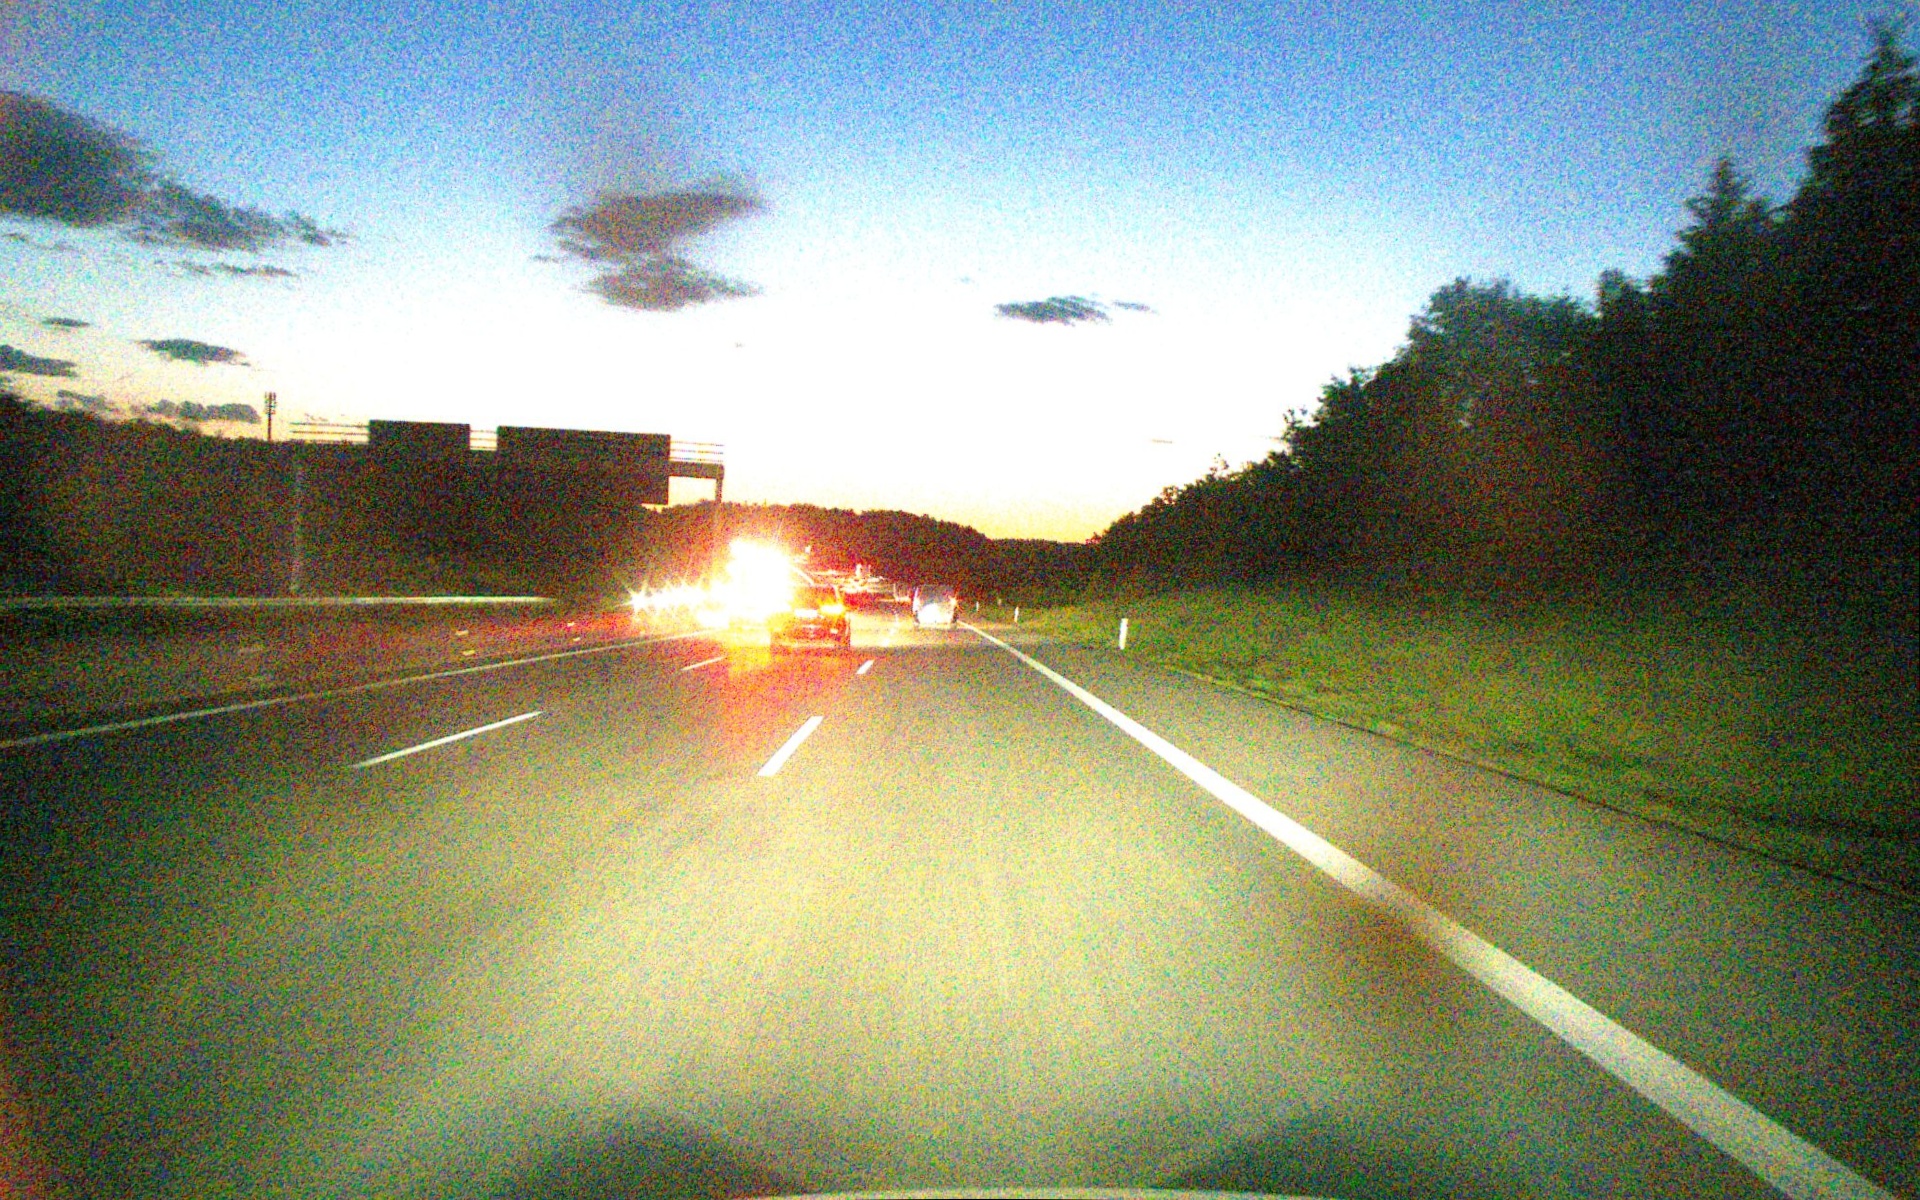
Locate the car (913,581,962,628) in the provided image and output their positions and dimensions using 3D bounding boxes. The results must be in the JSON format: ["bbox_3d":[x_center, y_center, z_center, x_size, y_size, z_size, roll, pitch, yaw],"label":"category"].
[{"bbox_3d":[-1.050,0.162,74.734,2.152,1.989,4.762,0,1,-2],"label":"car"}]

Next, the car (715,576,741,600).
[{"bbox_3d":[-29.938,-1.506,213.589,2.408,2.987,8.329,1,0,-2],"label":"car"}]

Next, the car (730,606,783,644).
[{"bbox_3d":[-8.068,0.961,65.957,1.518,1.456,5.513,1,0,-1],"label":"car"}]

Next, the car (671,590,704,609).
[{"bbox_3d":[-22.615,-0.031,137.344,1.953,1.535,5.183,1,0,-2],"label":"car"}]

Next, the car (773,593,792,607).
[{"bbox_3d":[-22.771,-0.040,212.381,1.953,1.764,4.657,1,0,-2],"label":"car"}]

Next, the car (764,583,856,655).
[{"bbox_3d":[-3.849,0.465,43.371,1.953,1.751,5.941,0,0,-1],"label":"car"}]

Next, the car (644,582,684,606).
[{"bbox_3d":[-19.970,-0.419,111.727,1.954,1.535,5.200,1,0,-3],"label":"car"}]
